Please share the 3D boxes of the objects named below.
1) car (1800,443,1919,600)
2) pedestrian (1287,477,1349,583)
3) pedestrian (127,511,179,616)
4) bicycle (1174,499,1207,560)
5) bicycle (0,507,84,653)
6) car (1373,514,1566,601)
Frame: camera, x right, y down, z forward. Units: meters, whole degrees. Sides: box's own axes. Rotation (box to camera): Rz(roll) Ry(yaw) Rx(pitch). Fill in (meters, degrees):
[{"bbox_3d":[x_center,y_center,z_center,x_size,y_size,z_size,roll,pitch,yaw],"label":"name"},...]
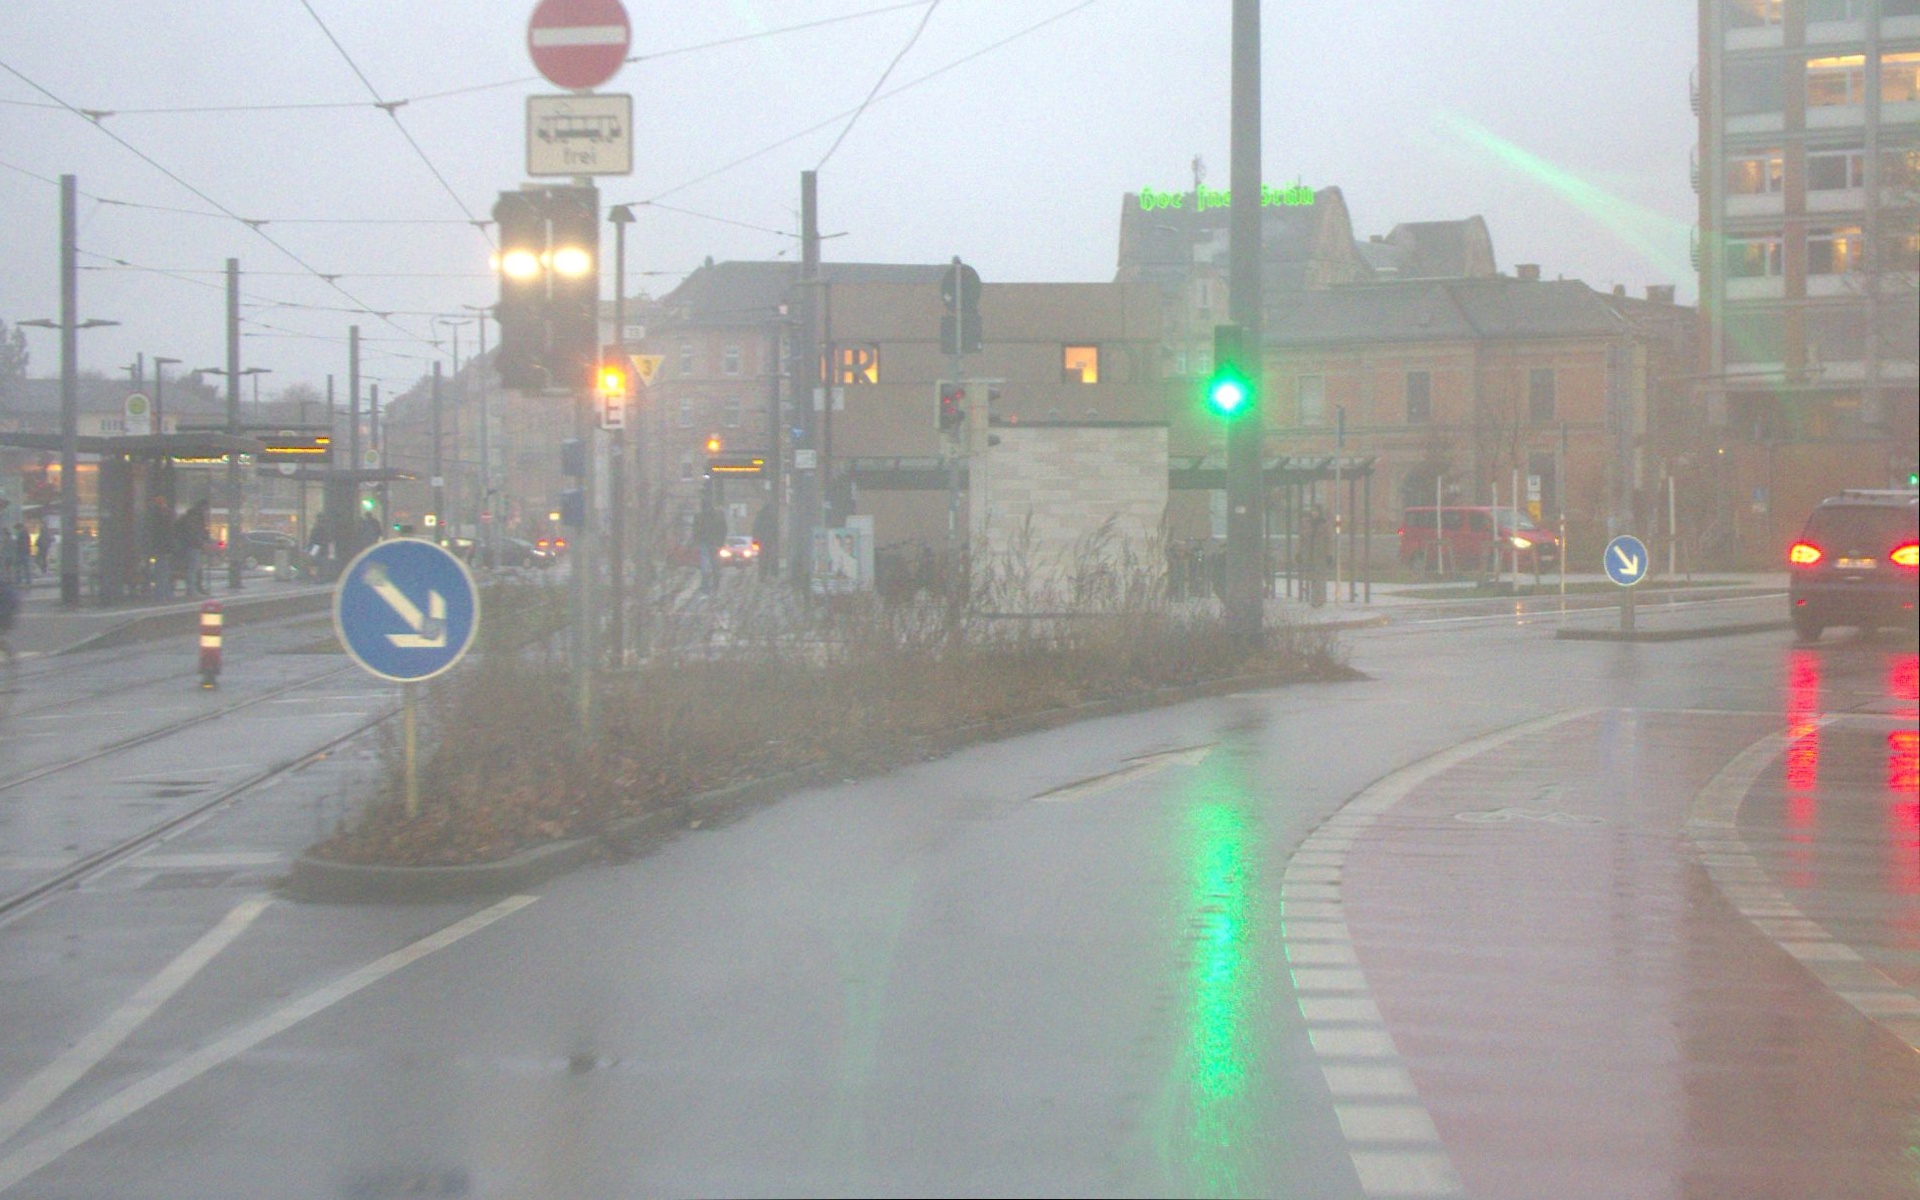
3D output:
[{"bbox_3d":[11.747,-0.986,42.103,1.650,1.812,3.993,2,3,31],"label":"car"},{"bbox_3d":[5.766,-1.129,55.320,0.674,1.668,0.729,2,1,35],"label":"pedestrian"},{"bbox_3d":[-13.628,-0.611,58.038,0.712,1.751,0.717,1,1,-3],"label":"pedestrian"},{"bbox_3d":[4.521,-1.385,67.568,0.549,1.161,1.899,2,1,2],"label":"bicycle"},{"bbox_3d":[-7.648,-0.134,25.651,0.627,1.070,2.204,2,4,39],"label":"bicycle"},{"bbox_3d":[14.288,-1.200,96.657,2.252,2.273,5.036,1,1,-42],"label":"car"}]
